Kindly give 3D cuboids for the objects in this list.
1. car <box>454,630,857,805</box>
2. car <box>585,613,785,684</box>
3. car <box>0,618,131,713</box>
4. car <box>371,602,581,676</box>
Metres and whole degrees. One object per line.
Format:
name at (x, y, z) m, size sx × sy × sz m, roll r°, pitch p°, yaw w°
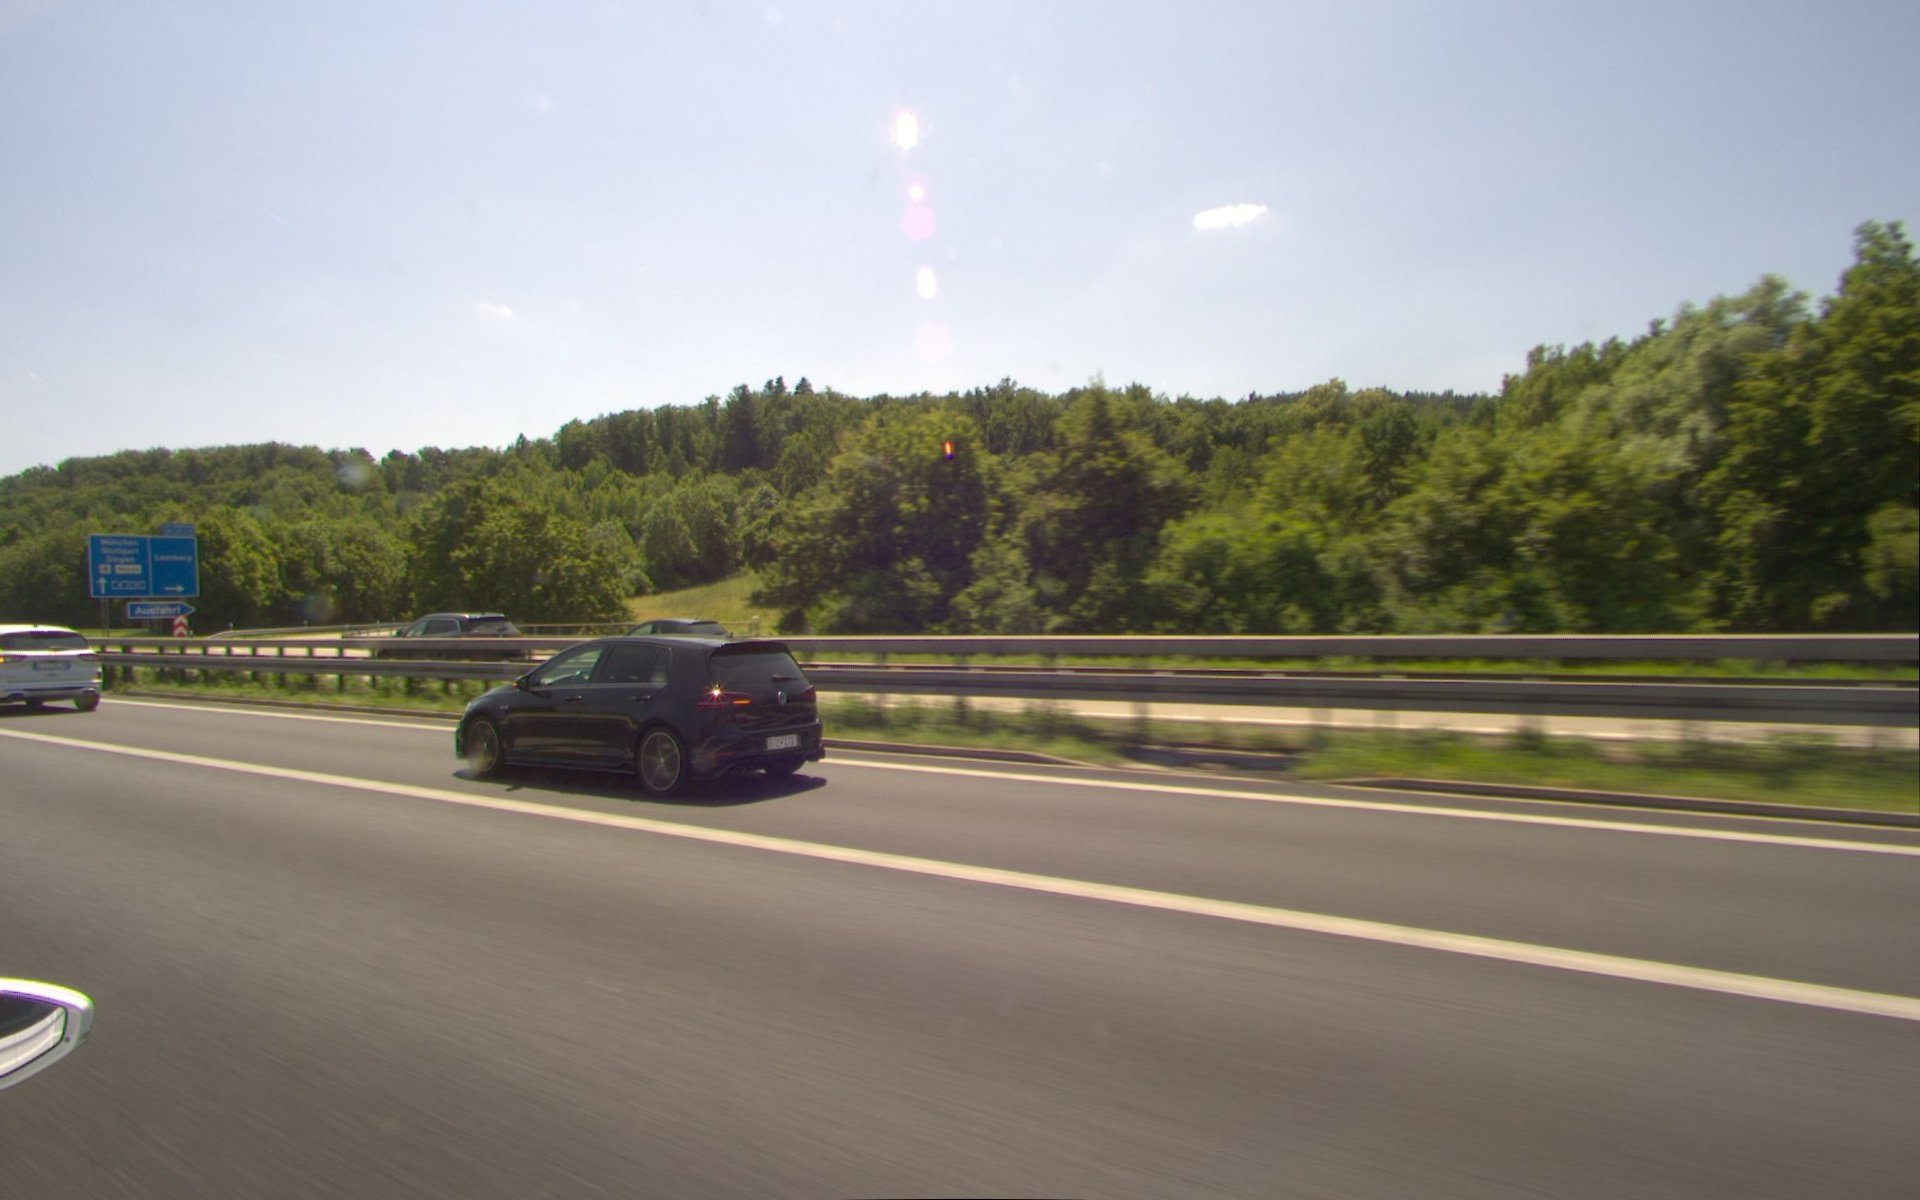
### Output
car at (-3.133, 1.039, 10.126) m, size 3.909 × 1.454 × 1.791 m, roll -1°, pitch -2°, yaw 32°
car at (-7.177, 1.231, 26.010) m, size 5.150 × 1.683 × 1.991 m, roll -1°, pitch -2°, yaw 30°
car at (-18.605, 1.236, 19.820) m, size 4.401 × 1.683 × 1.991 m, roll -1°, pitch -2°, yaw 30°
car at (-12.239, 0.975, 25.195) m, size 5.542 × 1.683 × 1.992 m, roll -1°, pitch -2°, yaw 30°
